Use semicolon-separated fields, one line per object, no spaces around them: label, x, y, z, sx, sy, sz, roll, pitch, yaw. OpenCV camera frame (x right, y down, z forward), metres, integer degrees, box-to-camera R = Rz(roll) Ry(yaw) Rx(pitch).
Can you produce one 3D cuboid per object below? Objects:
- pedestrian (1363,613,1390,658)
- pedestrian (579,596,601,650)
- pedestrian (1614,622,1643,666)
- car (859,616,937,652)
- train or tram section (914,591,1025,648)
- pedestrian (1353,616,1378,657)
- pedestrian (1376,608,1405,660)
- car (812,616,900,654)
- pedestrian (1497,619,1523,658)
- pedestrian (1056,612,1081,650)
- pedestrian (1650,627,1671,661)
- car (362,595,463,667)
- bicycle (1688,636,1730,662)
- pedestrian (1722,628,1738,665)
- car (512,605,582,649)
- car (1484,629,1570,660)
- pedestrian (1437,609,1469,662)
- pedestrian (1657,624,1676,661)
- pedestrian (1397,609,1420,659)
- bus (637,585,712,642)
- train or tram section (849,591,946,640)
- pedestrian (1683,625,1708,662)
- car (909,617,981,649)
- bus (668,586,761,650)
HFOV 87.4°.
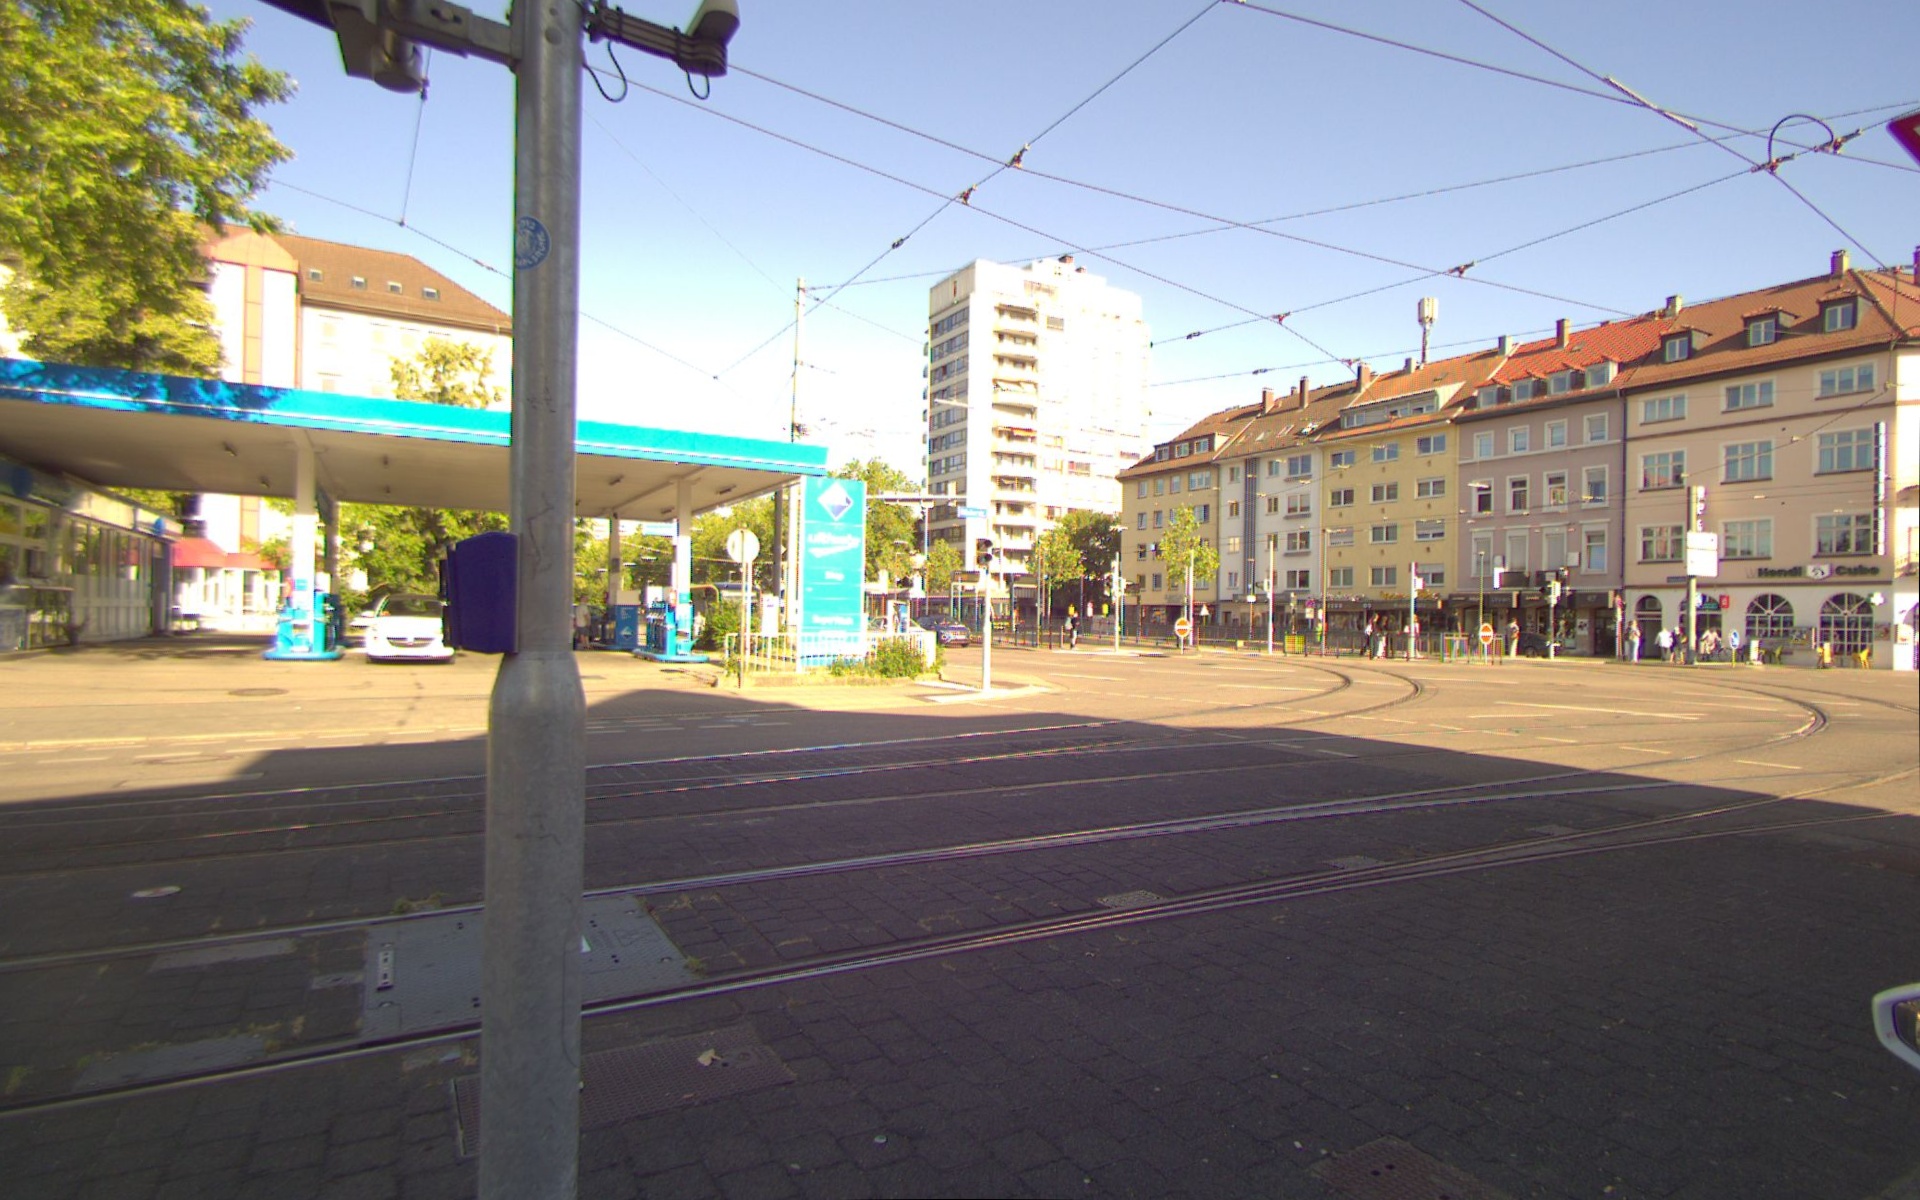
pedestrian;15.673;1.322;37.827;0.565;1.657;0.737;1;-1;-30
pedestrian;-11.846;0.745;32.178;0.579;1.715;0.756;1;-1;-25
pedestrian;26.462;1.732;39.756;0.621;1.704;0.737;1;-1;-30
car;-2.873;1.522;45.649;1.724;1.518;3.929;1;-1;-35
train or tram section;0.499;1.377;77.426;2.926;3.986;11.589;2;0;-30
pedestrian;15.863;1.429;39.290;0.553;1.602;0.695;1;-1;-30
pedestrian;15.769;1.229;36.787;0.769;1.874;0.625;1;-1;-30
car;-4.330;1.432;41.266;1.725;1.459;4.239;2;-2;-36
pedestrian;24.180;1.683;44.151;0.621;1.704;0.763;1;-1;-30
pedestrian;4.723;1.328;43.705;0.788;1.632;0.766;1;-1;-36
pedestrian;35.696;2.219;51.197;0.623;1.704;0.734;1;-1;-41
car;-12.357;0.670;22.554;1.793;1.461;3.966;1;-1;-31
bicycle;37.791;2.461;50.700;1.693;1.293;0.385;0;-1;44
pedestrian;26.971;1.633;35.181;0.447;1.270;0.361;1;-1;-41
car;-13.578;0.857;32.875;1.697;1.360;3.970;1;-1;-28
car;30.886;2.408;54.853;1.795;1.511;3.715;2;0;-27
pedestrian;17.624;1.259;35.920;0.714;1.853;0.763;1;-1;-30
pedestrian;33.901;2.028;48.178;0.731;1.704;0.626;0;-1;35
pedestrian;16.675;1.257;37.338;0.553;1.810;0.557;1;-1;-30
bus;-19.181;0.793;67.007;2.755;3.504;8.571;0;1;-30
train or tram section;-5.693;1.234;87.953;2.926;3.986;12.850;2;0;-30
pedestrian;34.421;2.054;47.020;0.729;1.704;0.627;1;-1;-9
car;-0.776;1.535;47.868;1.697;1.439;4.149;1;-1;-28
bus;-14.645;0.924;59.274;2.748;3.504;9.364;0;1;-31
